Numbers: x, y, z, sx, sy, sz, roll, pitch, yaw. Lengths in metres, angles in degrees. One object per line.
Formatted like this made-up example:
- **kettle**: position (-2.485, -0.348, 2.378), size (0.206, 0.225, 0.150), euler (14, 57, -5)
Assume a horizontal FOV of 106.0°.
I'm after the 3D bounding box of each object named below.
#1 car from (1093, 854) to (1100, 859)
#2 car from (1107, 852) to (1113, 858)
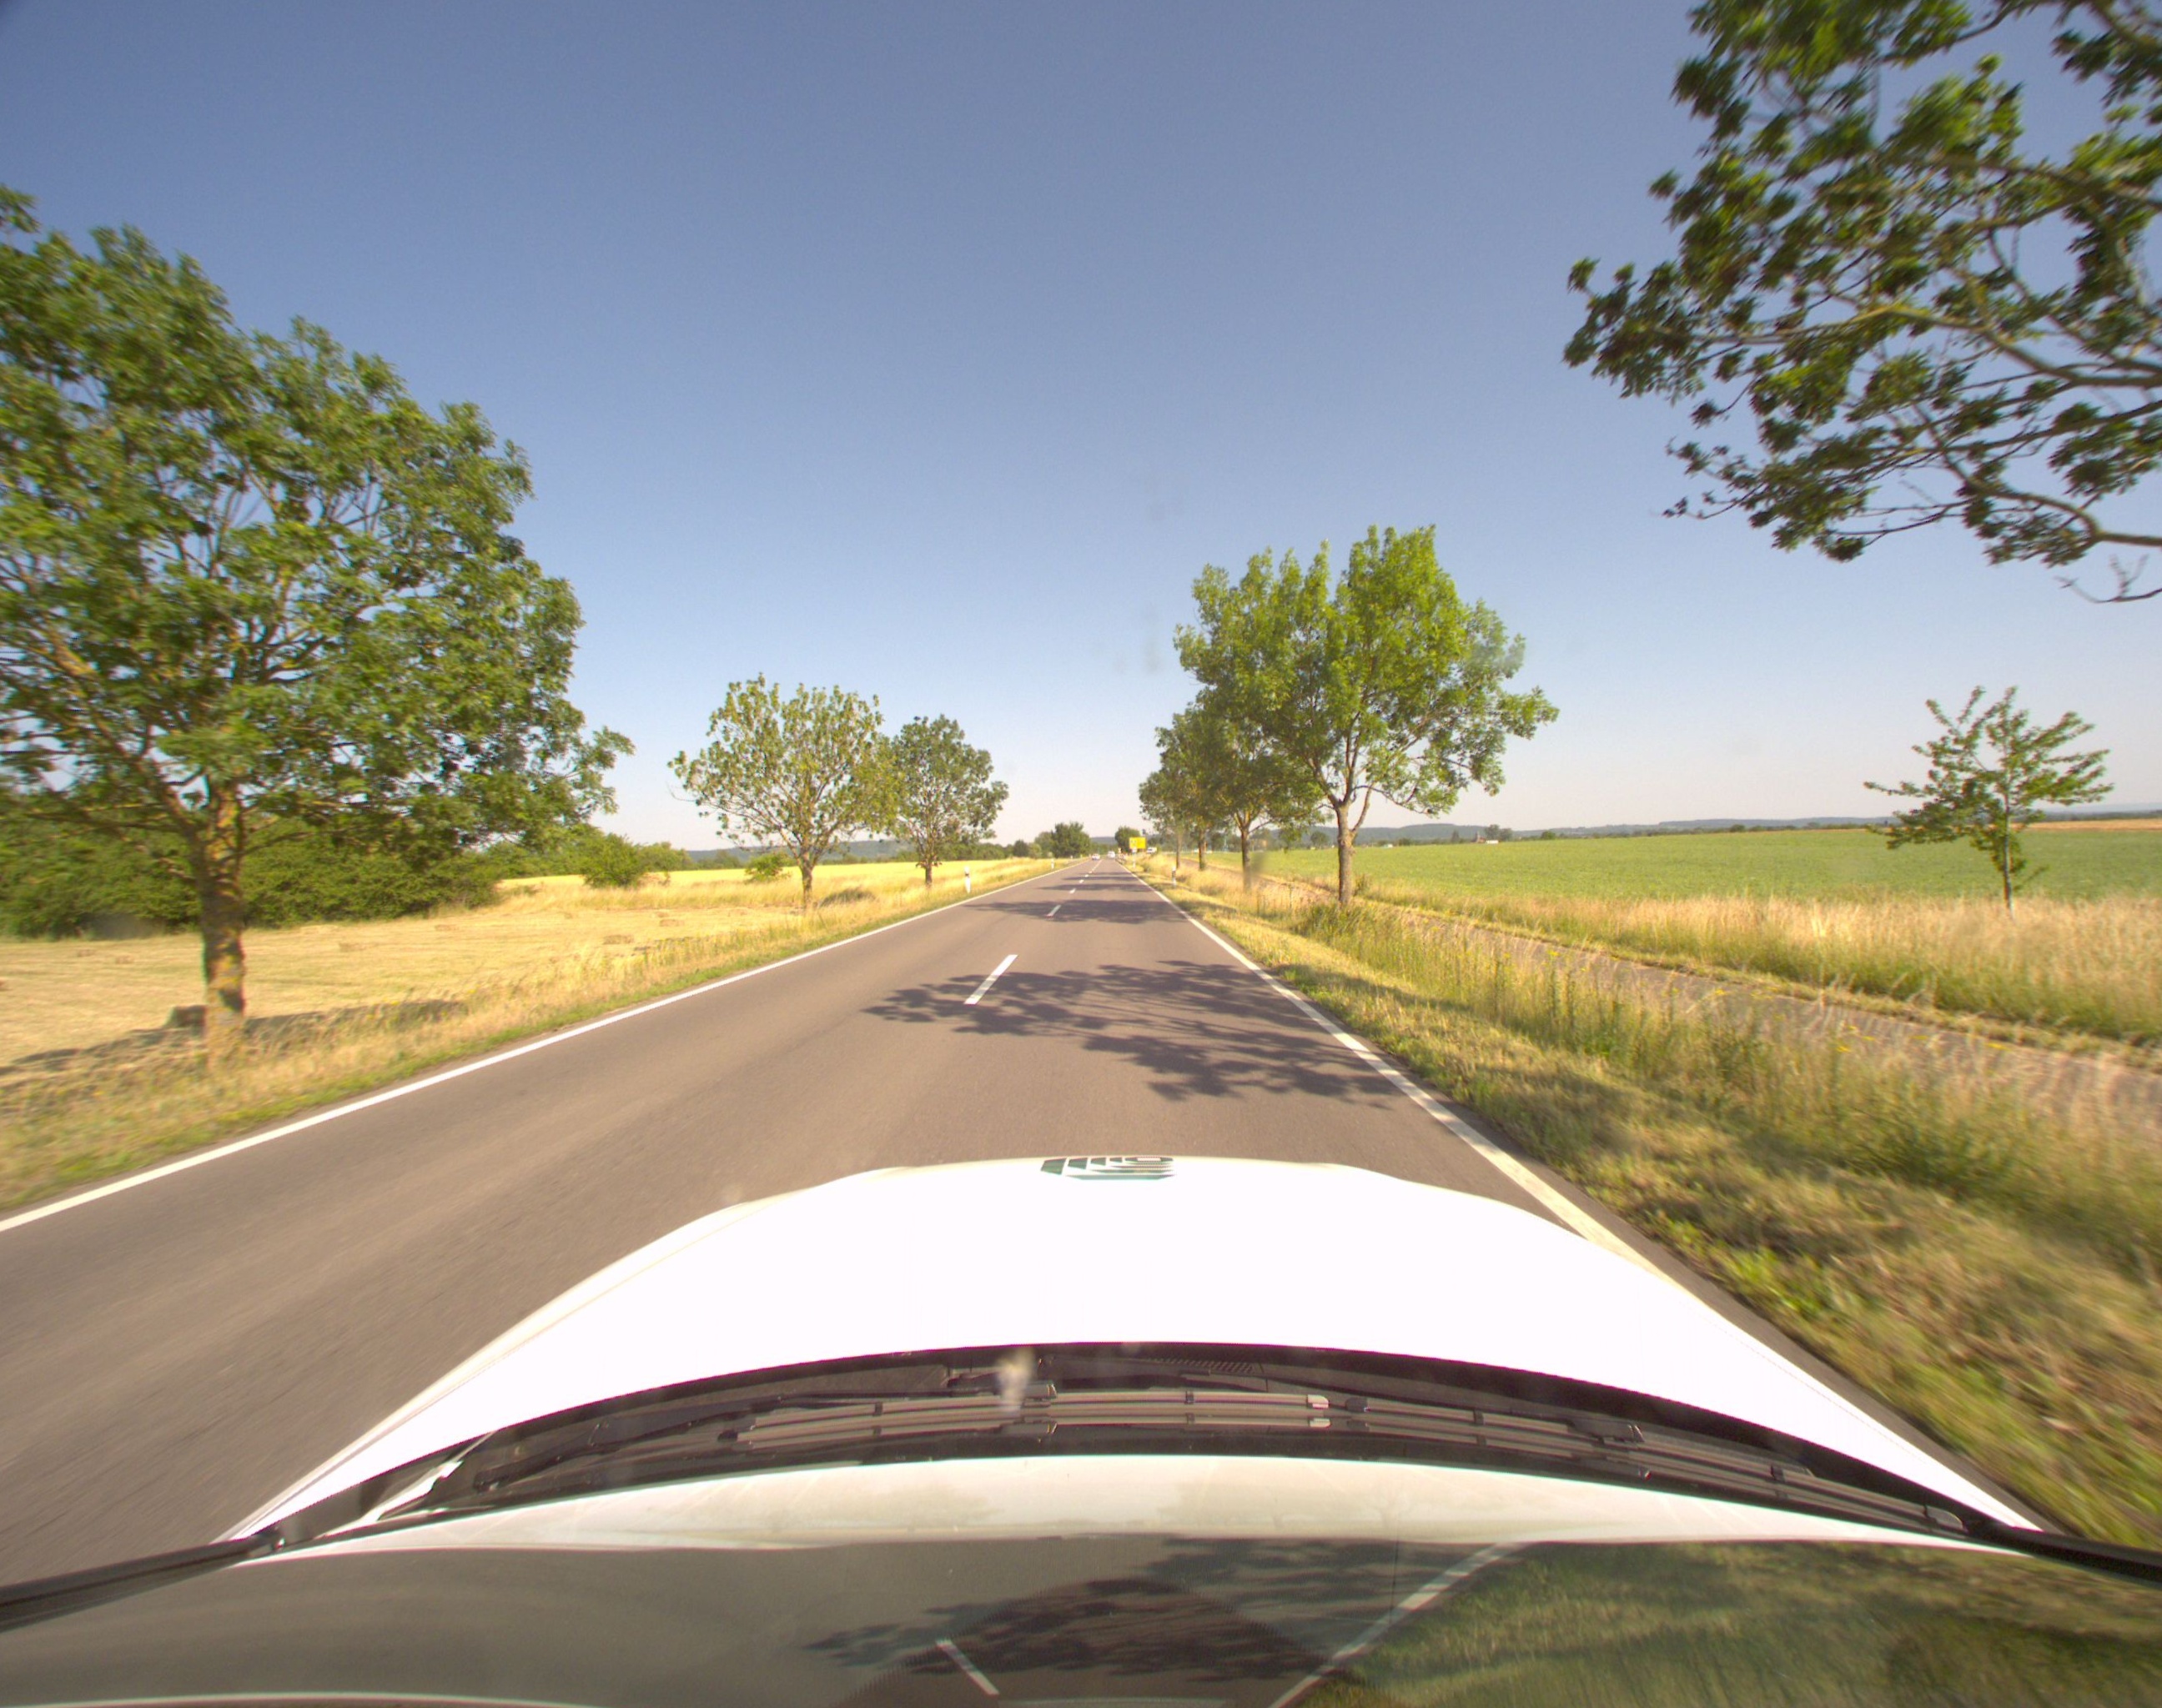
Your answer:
- **car**: position (3.888, 0.642, 207.302), size (1.720, 1.437, 4.517), euler (-1, 0, 1)
- **car**: position (9.153, 0.307, 255.306), size (1.829, 1.787, 4.437), euler (-1, 0, 2)
